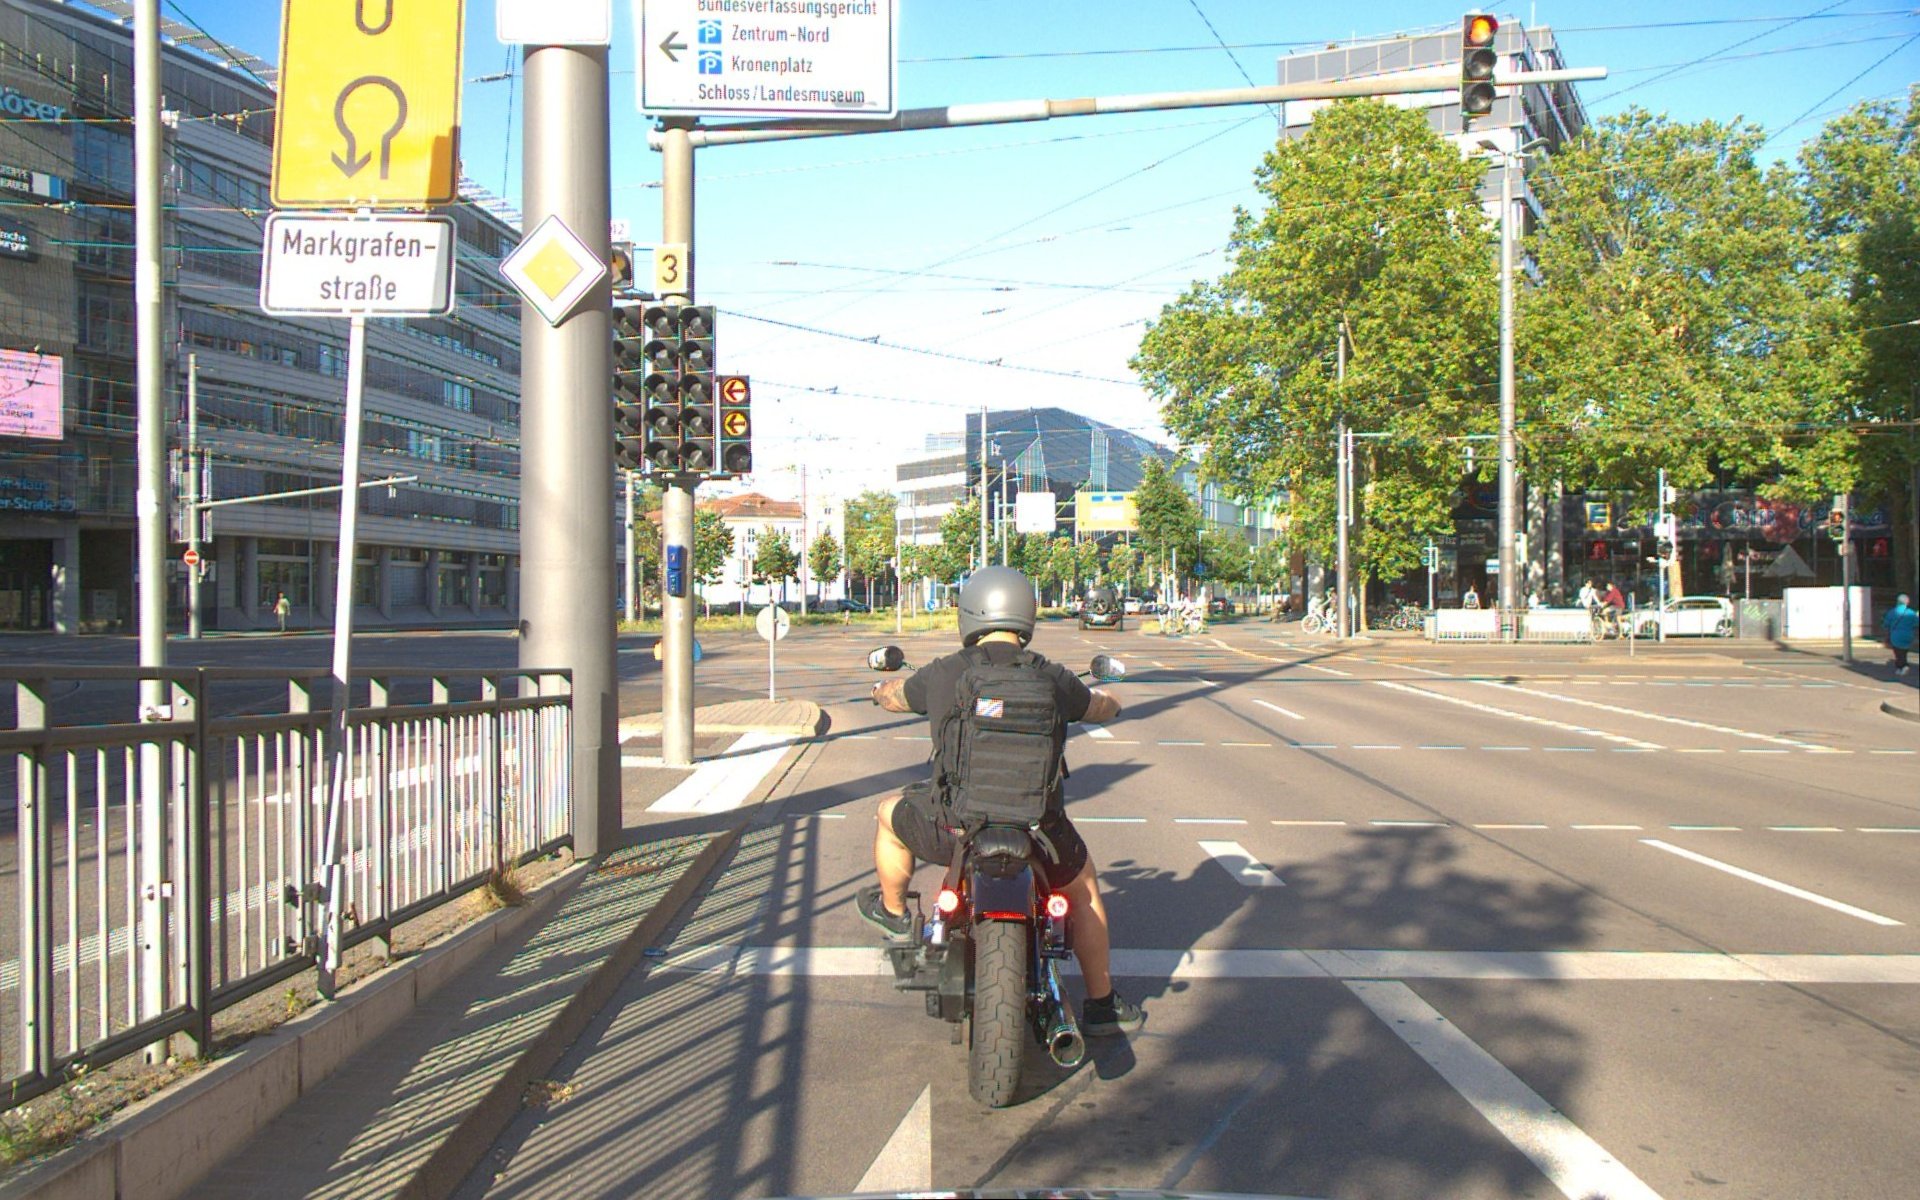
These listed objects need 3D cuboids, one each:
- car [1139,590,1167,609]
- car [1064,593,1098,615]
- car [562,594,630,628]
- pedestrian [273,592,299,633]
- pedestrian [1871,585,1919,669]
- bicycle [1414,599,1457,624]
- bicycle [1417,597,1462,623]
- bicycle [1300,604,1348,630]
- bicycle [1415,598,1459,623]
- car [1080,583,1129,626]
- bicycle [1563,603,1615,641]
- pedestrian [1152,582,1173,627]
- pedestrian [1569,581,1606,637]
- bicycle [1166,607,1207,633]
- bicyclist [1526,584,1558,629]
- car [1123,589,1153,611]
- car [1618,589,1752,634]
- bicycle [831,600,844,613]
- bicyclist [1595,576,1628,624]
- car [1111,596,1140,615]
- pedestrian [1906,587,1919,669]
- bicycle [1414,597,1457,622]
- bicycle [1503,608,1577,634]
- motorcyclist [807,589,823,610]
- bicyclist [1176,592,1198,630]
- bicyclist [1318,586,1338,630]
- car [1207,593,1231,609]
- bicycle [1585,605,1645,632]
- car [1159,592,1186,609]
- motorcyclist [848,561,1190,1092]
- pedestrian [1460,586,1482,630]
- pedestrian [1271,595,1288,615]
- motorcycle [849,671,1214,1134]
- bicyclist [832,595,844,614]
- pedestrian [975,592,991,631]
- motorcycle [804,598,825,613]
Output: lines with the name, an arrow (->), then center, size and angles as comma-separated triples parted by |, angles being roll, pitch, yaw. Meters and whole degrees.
car -> 17.377, -0.065, 148.762 | 1.684, 1.686, 3.755 | 0, 0, 19
car -> 8.966, 0.309, 122.131 | 1.861, 1.534, 4.003 | 1, 0, 14
car -> -17.255, 0.489, 78.593 | 1.753, 1.491, 4.315 | -1, 1, 8
pedestrian -> -30.864, 0.588, 75.759 | 0.660, 1.855, 0.886 | -2, -1, 11
pedestrian -> 17.892, 0.506, 31.482 | 0.662, 1.566, 0.741 | 1, -1, -8
bicycle -> 19.437, 0.487, 67.589 | 1.668, 1.003, 0.391 | 0, 0, 13
bicycle -> 19.077, 0.390, 65.828 | 1.668, 1.003, 0.391 | 0, 0, 13
bicycle -> 14.394, 0.671, 65.479 | 1.813, 1.039, 0.517 | -1, -1, 11
bicycle -> 19.229, 0.428, 66.675 | 1.668, 1.003, 0.391 | 0, 0, 13
car -> 6.814, 0.213, 77.802 | 2.009, 1.906, 4.230 | 1, 0, 9
bicycle -> 18.571, 0.637, 48.848 | 0.773, 1.070, 1.922 | 1, 0, -1
pedestrian -> 8.502, 0.176, 69.395 | 0.688, 1.869, 0.513 | 1, -1, 35
pedestrian -> 18.574, 0.256, 48.945 | 0.754, 1.622, 0.838 | 1, -1, -1
bicycle -> 9.222, 0.800, 67.326 | 1.594, 1.039, 0.516 | -1, -1, 23
bicyclist -> 25.646, 0.271, 72.857 | 1.200, 1.965, 0.836 | 0, 0, 10
car -> 15.229, -0.034, 141.533 | 1.781, 1.849, 3.945 | 0, 0, 18
car -> 25.722, 0.394, 58.759 | 3.903, 1.512, 2.001 | 1, 0, 4
bicycle -> -11.063, 0.554, 149.385 | 0.629, 1.127, 1.686 | 0, 0, 17
bicyclist -> 22.424, 0.014, 56.966 | 0.906, 1.643, 0.638 | 0, 0, 3
car -> 13.671, 0.418, 136.386 | 1.736, 1.541, 3.735 | 0, 0, 17
pedestrian -> 18.687, 0.539, 31.707 | 0.638, 1.566, 0.741 | 1, -1, -8
bicycle -> 19.555, 0.386, 68.052 | 1.668, 1.003, 0.391 | 0, 0, 13
bicycle -> 25.553, 0.913, 72.873 | 2.976, 1.133, 0.836 | 0, 0, 10
motorcyclist -> -12.461, -0.051, 142.070 | 0.997, 1.761, 1.462 | 0, 0, 10
bicyclist -> 9.244, 0.442, 67.301 | 0.727, 1.529, 0.570 | -1, -1, 23
bicyclist -> 14.557, 0.327, 65.449 | 0.727, 1.724, 0.570 | -1, -1, 10
car -> 24.346, 0.086, 155.365 | 1.803, 1.490, 4.002 | 1, 0, 16
bicycle -> 22.536, 0.641, 56.948 | 1.814, 0.926, 0.652 | 0, 0, 3
car -> 20.082, 0.032, 156.368 | 1.685, 1.510, 3.754 | 0, 0, 22
motorcyclist -> 0.169, 0.679, 5.611 | 1.001, 1.579, 1.286 | 1, 0, -1
pedestrian -> 22.725, 0.347, 73.521 | 0.829, 1.884, 0.810 | 2, 0, 14
pedestrian -> 17.548, 0.296, 90.931 | 0.768, 1.075, 0.814 | 0, 0, 22
motorcycle -> 0.181, 0.881, 5.700 | 0.985, 1.145, 2.323 | 1, 0, -1
bicyclist -> -11.033, 0.376, 149.381 | 0.747, 1.696, 0.994 | 0, 0, 17
pedestrian -> 0.941, 0.471, 68.965 | 0.643, 1.610, 0.489 | 0, 0, 3
motorcycle -> -12.481, 0.446, 141.976 | 0.962, 1.253, 2.945 | 0, 0, 10
